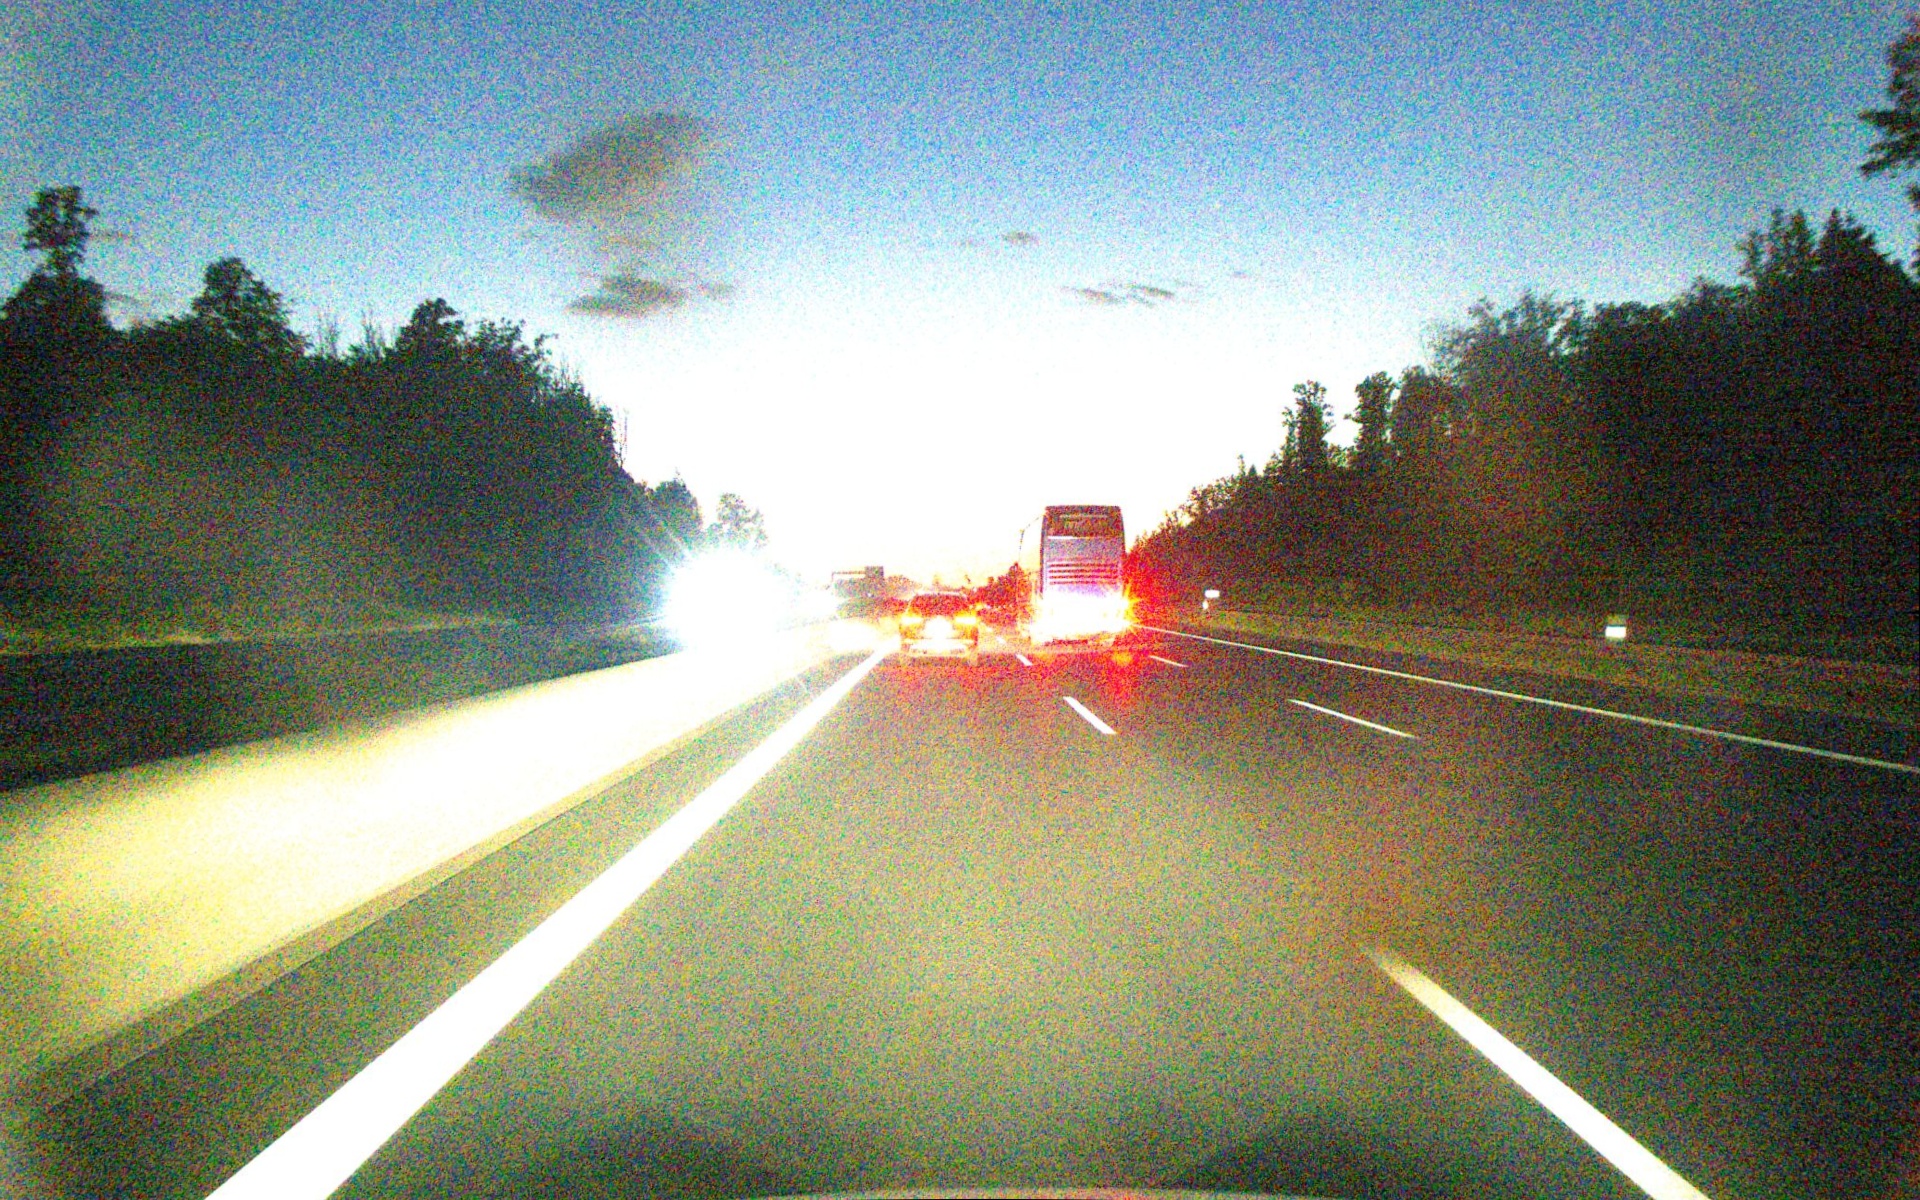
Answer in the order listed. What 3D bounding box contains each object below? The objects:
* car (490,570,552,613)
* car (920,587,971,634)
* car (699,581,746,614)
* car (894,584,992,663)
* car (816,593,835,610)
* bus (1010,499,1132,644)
[{"bbox_3d":[-21.192,-0.410,79.990,1.953,1.959,3.998,-2,0,-2],"label":"car"},{"bbox_3d":[-0.610,0.441,65.501,1.873,1.760,3.998,-2,-1,-2],"label":"car"},{"bbox_3d":[-12.271,-0.144,85.742,1.894,1.589,4.452,1,0,-2],"label":"car"},{"bbox_3d":[-0.438,0.536,37.350,2.063,1.646,4.202,-1,-1,-2],"label":"car"},{"bbox_3d":[-15.574,0.168,191.806,1.952,1.807,5.169,1,0,-2],"label":"car"},{"bbox_3d":[3.375,-0.711,54.190,2.598,4.064,14.696,-1,-1,-1],"label":"bus"}]
